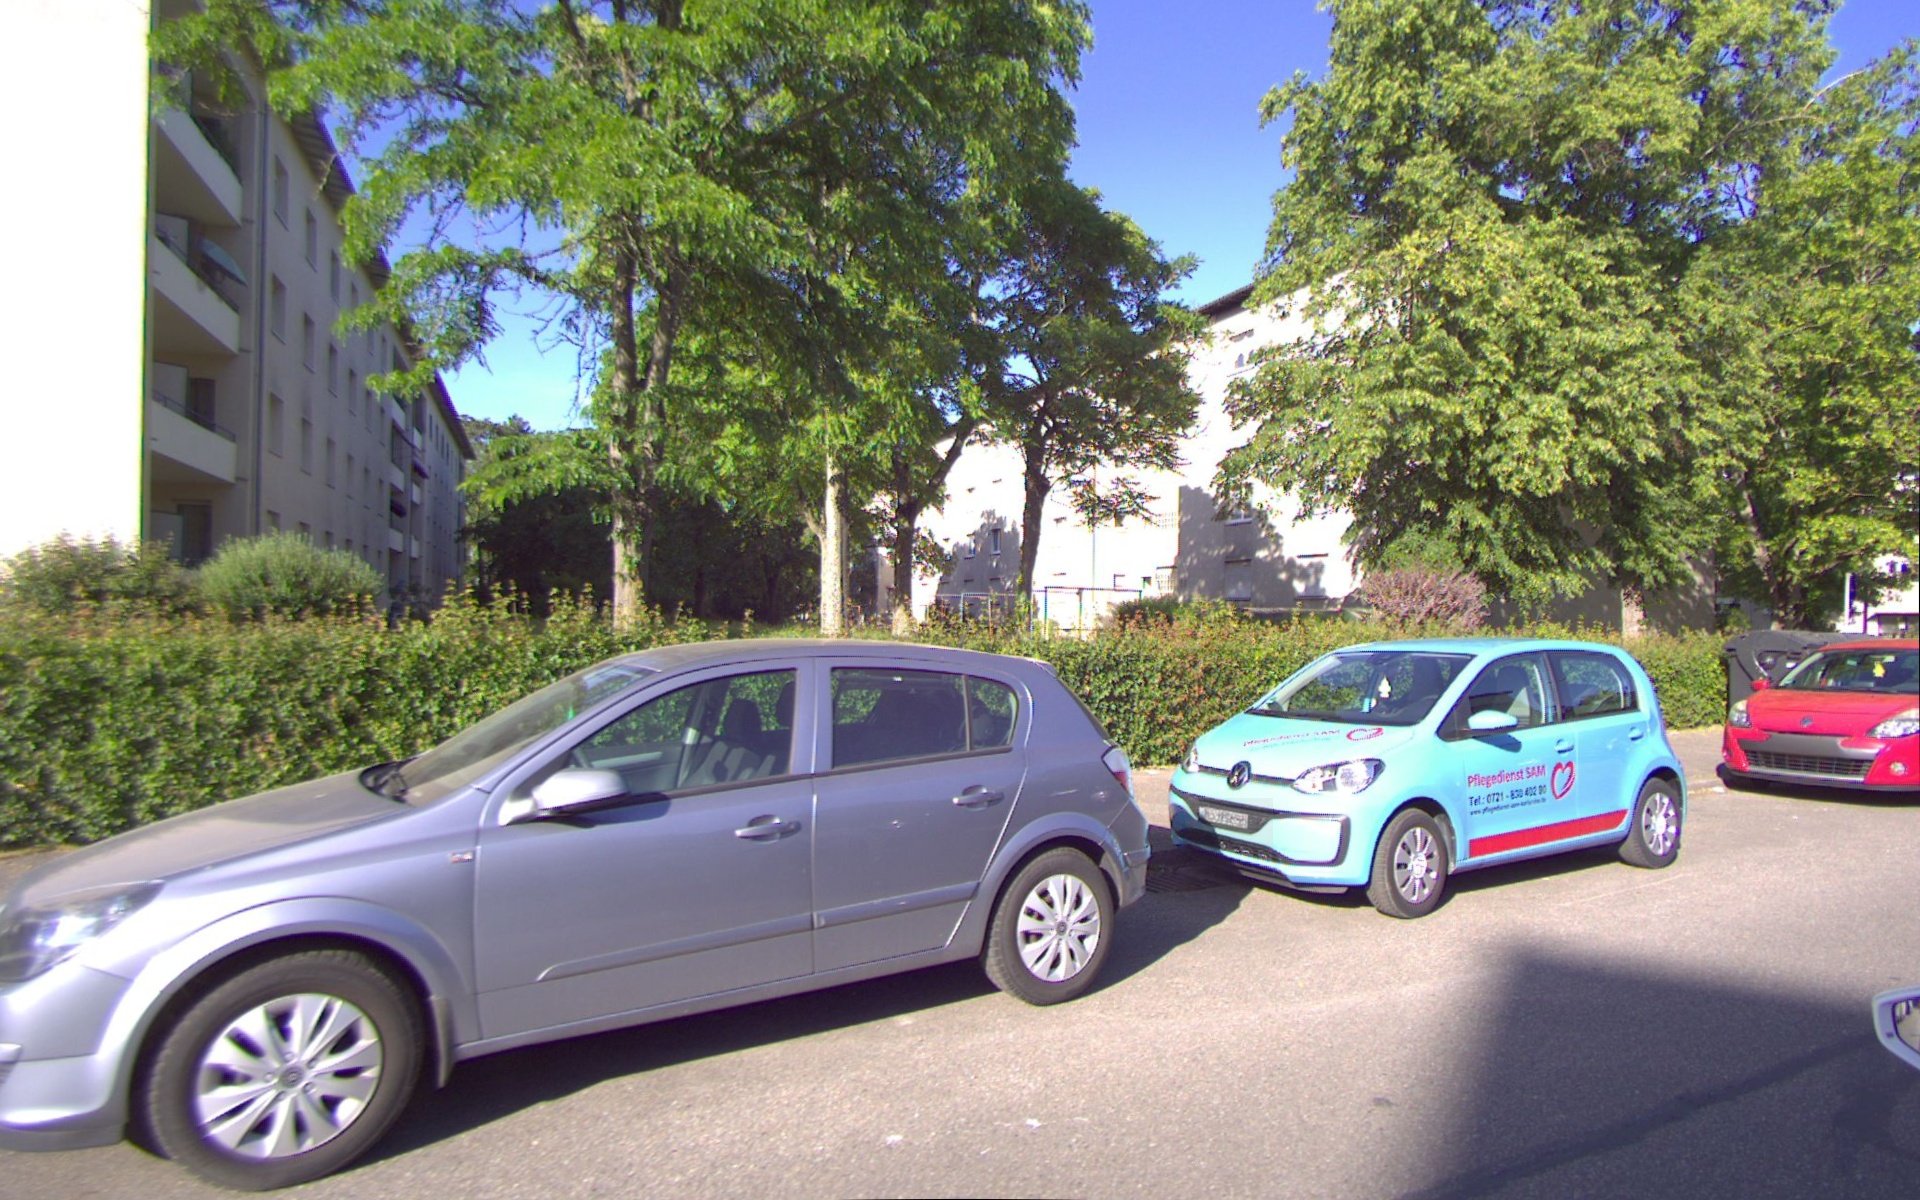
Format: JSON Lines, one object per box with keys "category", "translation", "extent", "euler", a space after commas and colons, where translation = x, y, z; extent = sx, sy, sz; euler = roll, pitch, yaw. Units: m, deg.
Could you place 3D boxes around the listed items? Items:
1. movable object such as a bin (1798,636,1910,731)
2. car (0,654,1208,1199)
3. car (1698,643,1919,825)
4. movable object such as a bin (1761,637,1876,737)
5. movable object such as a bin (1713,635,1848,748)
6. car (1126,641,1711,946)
{"category": "movable object such as a bin", "translation": [14.404, 1.311, 16.193], "extent": [1.298, 1.437, 0.984], "euler": [0, -1, -29]}
{"category": "car", "translation": [-1.032, 0.969, 4.069], "extent": [3.954, 1.456, 1.662], "euler": [1, -3, -31]}
{"category": "car", "translation": [9.137, 1.176, 9.881], "extent": [3.633, 1.493, 1.663], "euler": [1, -2, -29]}
{"category": "movable object such as a bin", "translation": [13.261, 1.310, 15.526], "extent": [1.299, 1.437, 0.983], "euler": [0, -1, -30]}
{"category": "movable object such as a bin", "translation": [11.917, 1.286, 14.601], "extent": [1.392, 1.518, 1.105], "euler": [0, -1, -30]}
{"category": "car", "translation": [3.037, 1.017, 6.572], "extent": [3.633, 1.493, 1.663], "euler": [1, -2, -29]}
